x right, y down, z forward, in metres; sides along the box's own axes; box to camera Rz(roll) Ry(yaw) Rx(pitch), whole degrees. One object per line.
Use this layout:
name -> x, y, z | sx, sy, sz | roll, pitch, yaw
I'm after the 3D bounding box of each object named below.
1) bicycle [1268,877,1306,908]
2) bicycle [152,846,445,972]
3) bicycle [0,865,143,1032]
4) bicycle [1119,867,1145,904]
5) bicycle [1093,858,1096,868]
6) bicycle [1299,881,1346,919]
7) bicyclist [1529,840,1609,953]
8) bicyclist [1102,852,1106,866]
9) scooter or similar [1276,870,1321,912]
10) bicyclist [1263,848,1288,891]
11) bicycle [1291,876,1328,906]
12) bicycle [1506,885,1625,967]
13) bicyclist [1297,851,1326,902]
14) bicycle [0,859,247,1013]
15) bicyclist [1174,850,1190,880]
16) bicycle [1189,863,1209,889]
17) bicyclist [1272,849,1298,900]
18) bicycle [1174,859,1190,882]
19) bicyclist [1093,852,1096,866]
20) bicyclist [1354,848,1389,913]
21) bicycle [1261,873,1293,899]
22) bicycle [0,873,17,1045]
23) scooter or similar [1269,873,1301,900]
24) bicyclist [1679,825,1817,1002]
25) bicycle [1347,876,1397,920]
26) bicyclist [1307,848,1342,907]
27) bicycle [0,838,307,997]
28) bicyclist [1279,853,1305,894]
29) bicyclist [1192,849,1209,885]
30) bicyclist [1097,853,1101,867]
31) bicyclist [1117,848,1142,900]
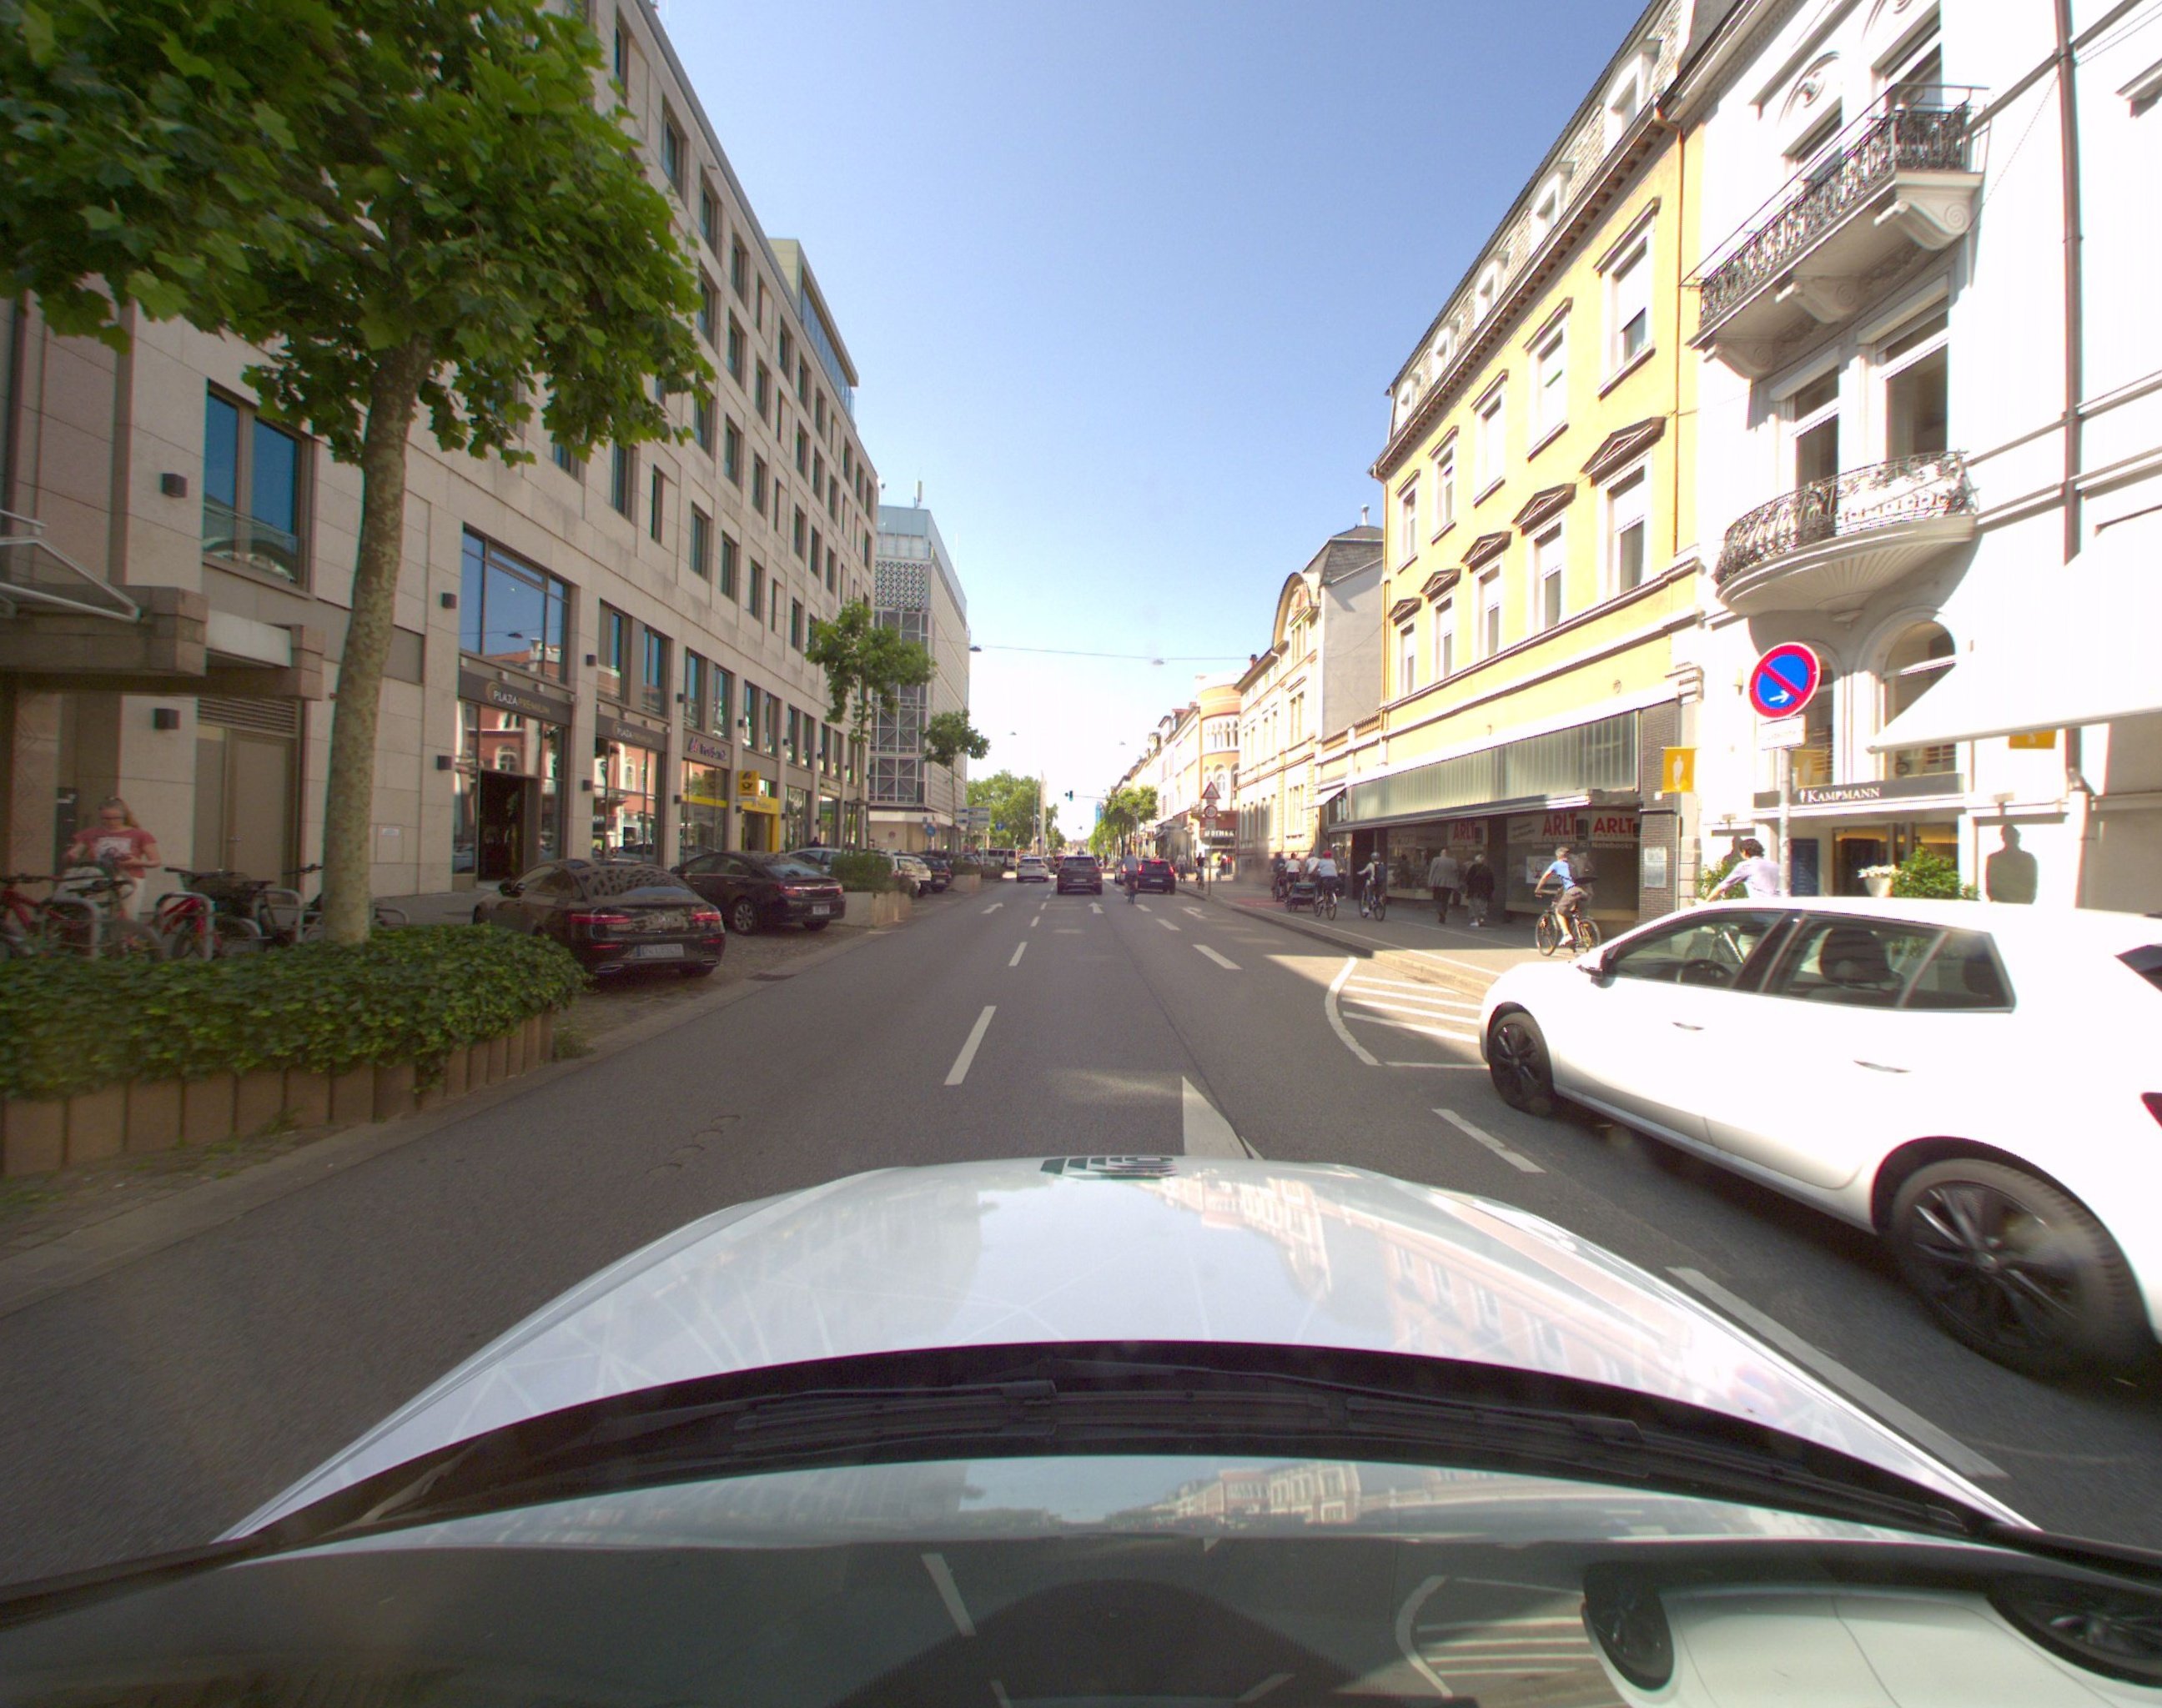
bicycle -> 6.449, 1.195, 25.613 | 0.644, 0.879, 2.389 | 0, -1, 1
bicycle -> -8.289, 0.589, 8.755 | 2.070, 1.219, 0.756 | 4, -1, -17
bicycle -> -8.233, 0.639, 5.864 | 2.064, 1.130, 0.462 | 3, -1, -9
bicycle -> 1.679, 1.022, 27.191 | 0.662, 1.120, 2.243 | 3, 0, 0
bicycle -> 1.520, 1.038, 91.973 | 0.418, 1.135, 1.910 | 0, 0, 1
bicycle -> 6.194, 1.160, 21.003 | 0.644, 0.879, 2.103 | 0, 0, 1
bicyclist -> 7.600, 0.634, 12.726 | 0.645, 1.684, 1.013 | 0, 0, 0
bicyclist -> 2.615, 0.587, 92.054 | 0.418, 1.630, 0.709 | 0, 0, 1
scooter or similar -> 6.266, 1.053, 23.530 | 0.867, 1.122, 1.621 | -1, 0, 1
bicyclist -> 7.367, 0.589, 30.880 | 0.707, 1.595, 0.963 | 0, 0, 1
bicycle -> 7.311, 1.164, 26.124 | 0.644, 0.879, 2.103 | 0, 0, 1
bicycle -> 7.578, 1.085, 12.859 | 0.644, 1.120, 2.103 | 0, 0, 0
bicyclist -> 7.364, 0.708, 26.046 | 0.655, 1.595, 0.920 | 0, -1, 1
bicycle -> -8.203, 0.650, 6.618 | 2.064, 1.130, 0.462 | 3, -1, -9
bicyclist -> 5.794, 0.633, 46.785 | 0.692, 1.673, 0.835 | 3, 1, 0
bicycle -> 5.520, 1.012, 38.266 | 0.553, 1.120, 2.243 | 3, 0, 0
bicyclist -> 6.454, 0.644, 25.805 | 0.630, 1.595, 0.920 | 0, -1, 1
bicycle -> 5.782, 0.946, 46.521 | 0.553, 1.209, 2.243 | 3, 0, 0
bicyclist -> 1.529, 0.578, 91.979 | 0.418, 1.630, 0.709 | 0, 0, 1
bicyclist -> 7.342, 0.658, 20.592 | 0.580, 1.595, 0.920 | 0, 0, 1
bicycle -> 7.373, 1.193, 30.793 | 0.737, 0.879, 2.138 | 0, 0, 1
bicycle -> -8.157, 0.634, 5.100 | 2.058, 1.130, 0.617 | 3, -1, -1
scooter or similar -> 7.318, 1.156, 29.264 | 0.850, 0.919, 1.165 | 0, 0, 1
bicyclist -> 7.053, 0.594, 8.660 | 0.645, 1.769, 1.013 | 0, 0, 0
bicycle -> 7.337, 1.097, 20.631 | 0.561, 0.996, 2.103 | 0, 0, 1
bicyclist -> 6.226, 0.580, 20.844 | 0.622, 1.476, 0.889 | 0, 0, 1
bicycle -> -8.307, 0.572, 7.304 | 2.064, 1.288, 0.366 | 3, -1, -9
bicyclist -> 6.434, 0.590, 24.858 | 0.621, 1.248, 0.608 | 0, 0, 1
bicyclist -> 5.601, 0.629, 38.300 | 0.692, 1.674, 0.835 | 1, -3, 0
bicyclist -> 2.126, 0.689, 95.258 | 0.418, 1.630, 0.669 | 0, 0, 1
bicyclist -> 1.623, 0.642, 27.223 | 0.692, 1.673, 0.915 | 3, 1, 0
